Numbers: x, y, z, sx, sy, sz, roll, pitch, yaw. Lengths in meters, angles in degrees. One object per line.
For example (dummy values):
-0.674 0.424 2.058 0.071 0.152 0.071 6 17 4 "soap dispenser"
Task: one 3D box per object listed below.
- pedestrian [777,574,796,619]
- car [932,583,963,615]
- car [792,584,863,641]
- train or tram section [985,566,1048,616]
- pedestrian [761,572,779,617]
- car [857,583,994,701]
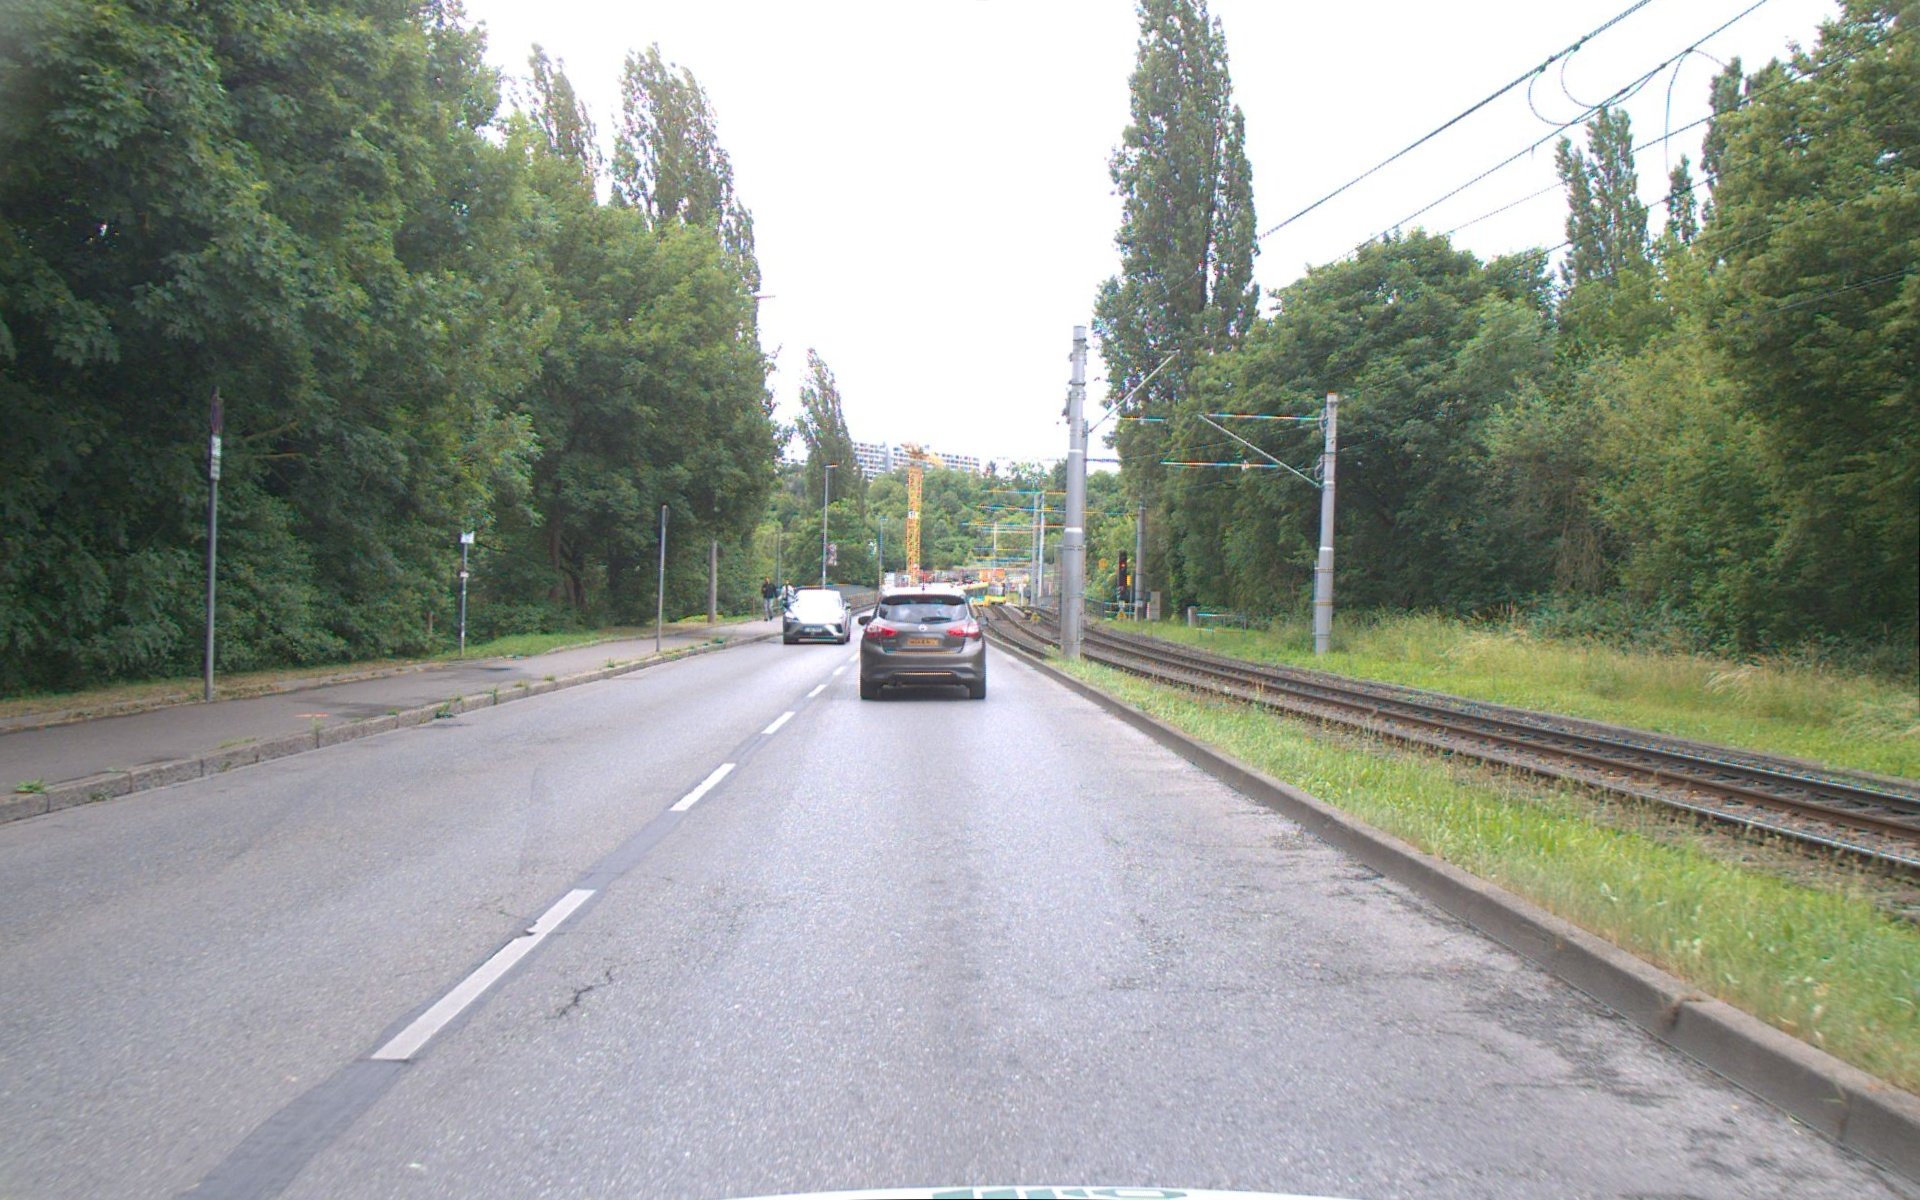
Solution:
-7.113 -0.161 67.835 0.540 1.795 0.858 5 0 -1 "pedestrian"
-0.669 -0.079 91.911 1.646 1.634 4.309 2 1 0 "car"
-3.805 0.323 47.970 1.758 1.518 4.179 -1 1 -1 "car"
6.583 -0.916 198.105 2.972 5.273 23.002 3 -2 -9 "train or tram section"
-7.781 -0.229 67.811 0.575 1.834 0.822 3 0 -1 "pedestrian"
-0.565 0.537 23.913 1.793 1.536 3.998 1 1 -3 "car"
